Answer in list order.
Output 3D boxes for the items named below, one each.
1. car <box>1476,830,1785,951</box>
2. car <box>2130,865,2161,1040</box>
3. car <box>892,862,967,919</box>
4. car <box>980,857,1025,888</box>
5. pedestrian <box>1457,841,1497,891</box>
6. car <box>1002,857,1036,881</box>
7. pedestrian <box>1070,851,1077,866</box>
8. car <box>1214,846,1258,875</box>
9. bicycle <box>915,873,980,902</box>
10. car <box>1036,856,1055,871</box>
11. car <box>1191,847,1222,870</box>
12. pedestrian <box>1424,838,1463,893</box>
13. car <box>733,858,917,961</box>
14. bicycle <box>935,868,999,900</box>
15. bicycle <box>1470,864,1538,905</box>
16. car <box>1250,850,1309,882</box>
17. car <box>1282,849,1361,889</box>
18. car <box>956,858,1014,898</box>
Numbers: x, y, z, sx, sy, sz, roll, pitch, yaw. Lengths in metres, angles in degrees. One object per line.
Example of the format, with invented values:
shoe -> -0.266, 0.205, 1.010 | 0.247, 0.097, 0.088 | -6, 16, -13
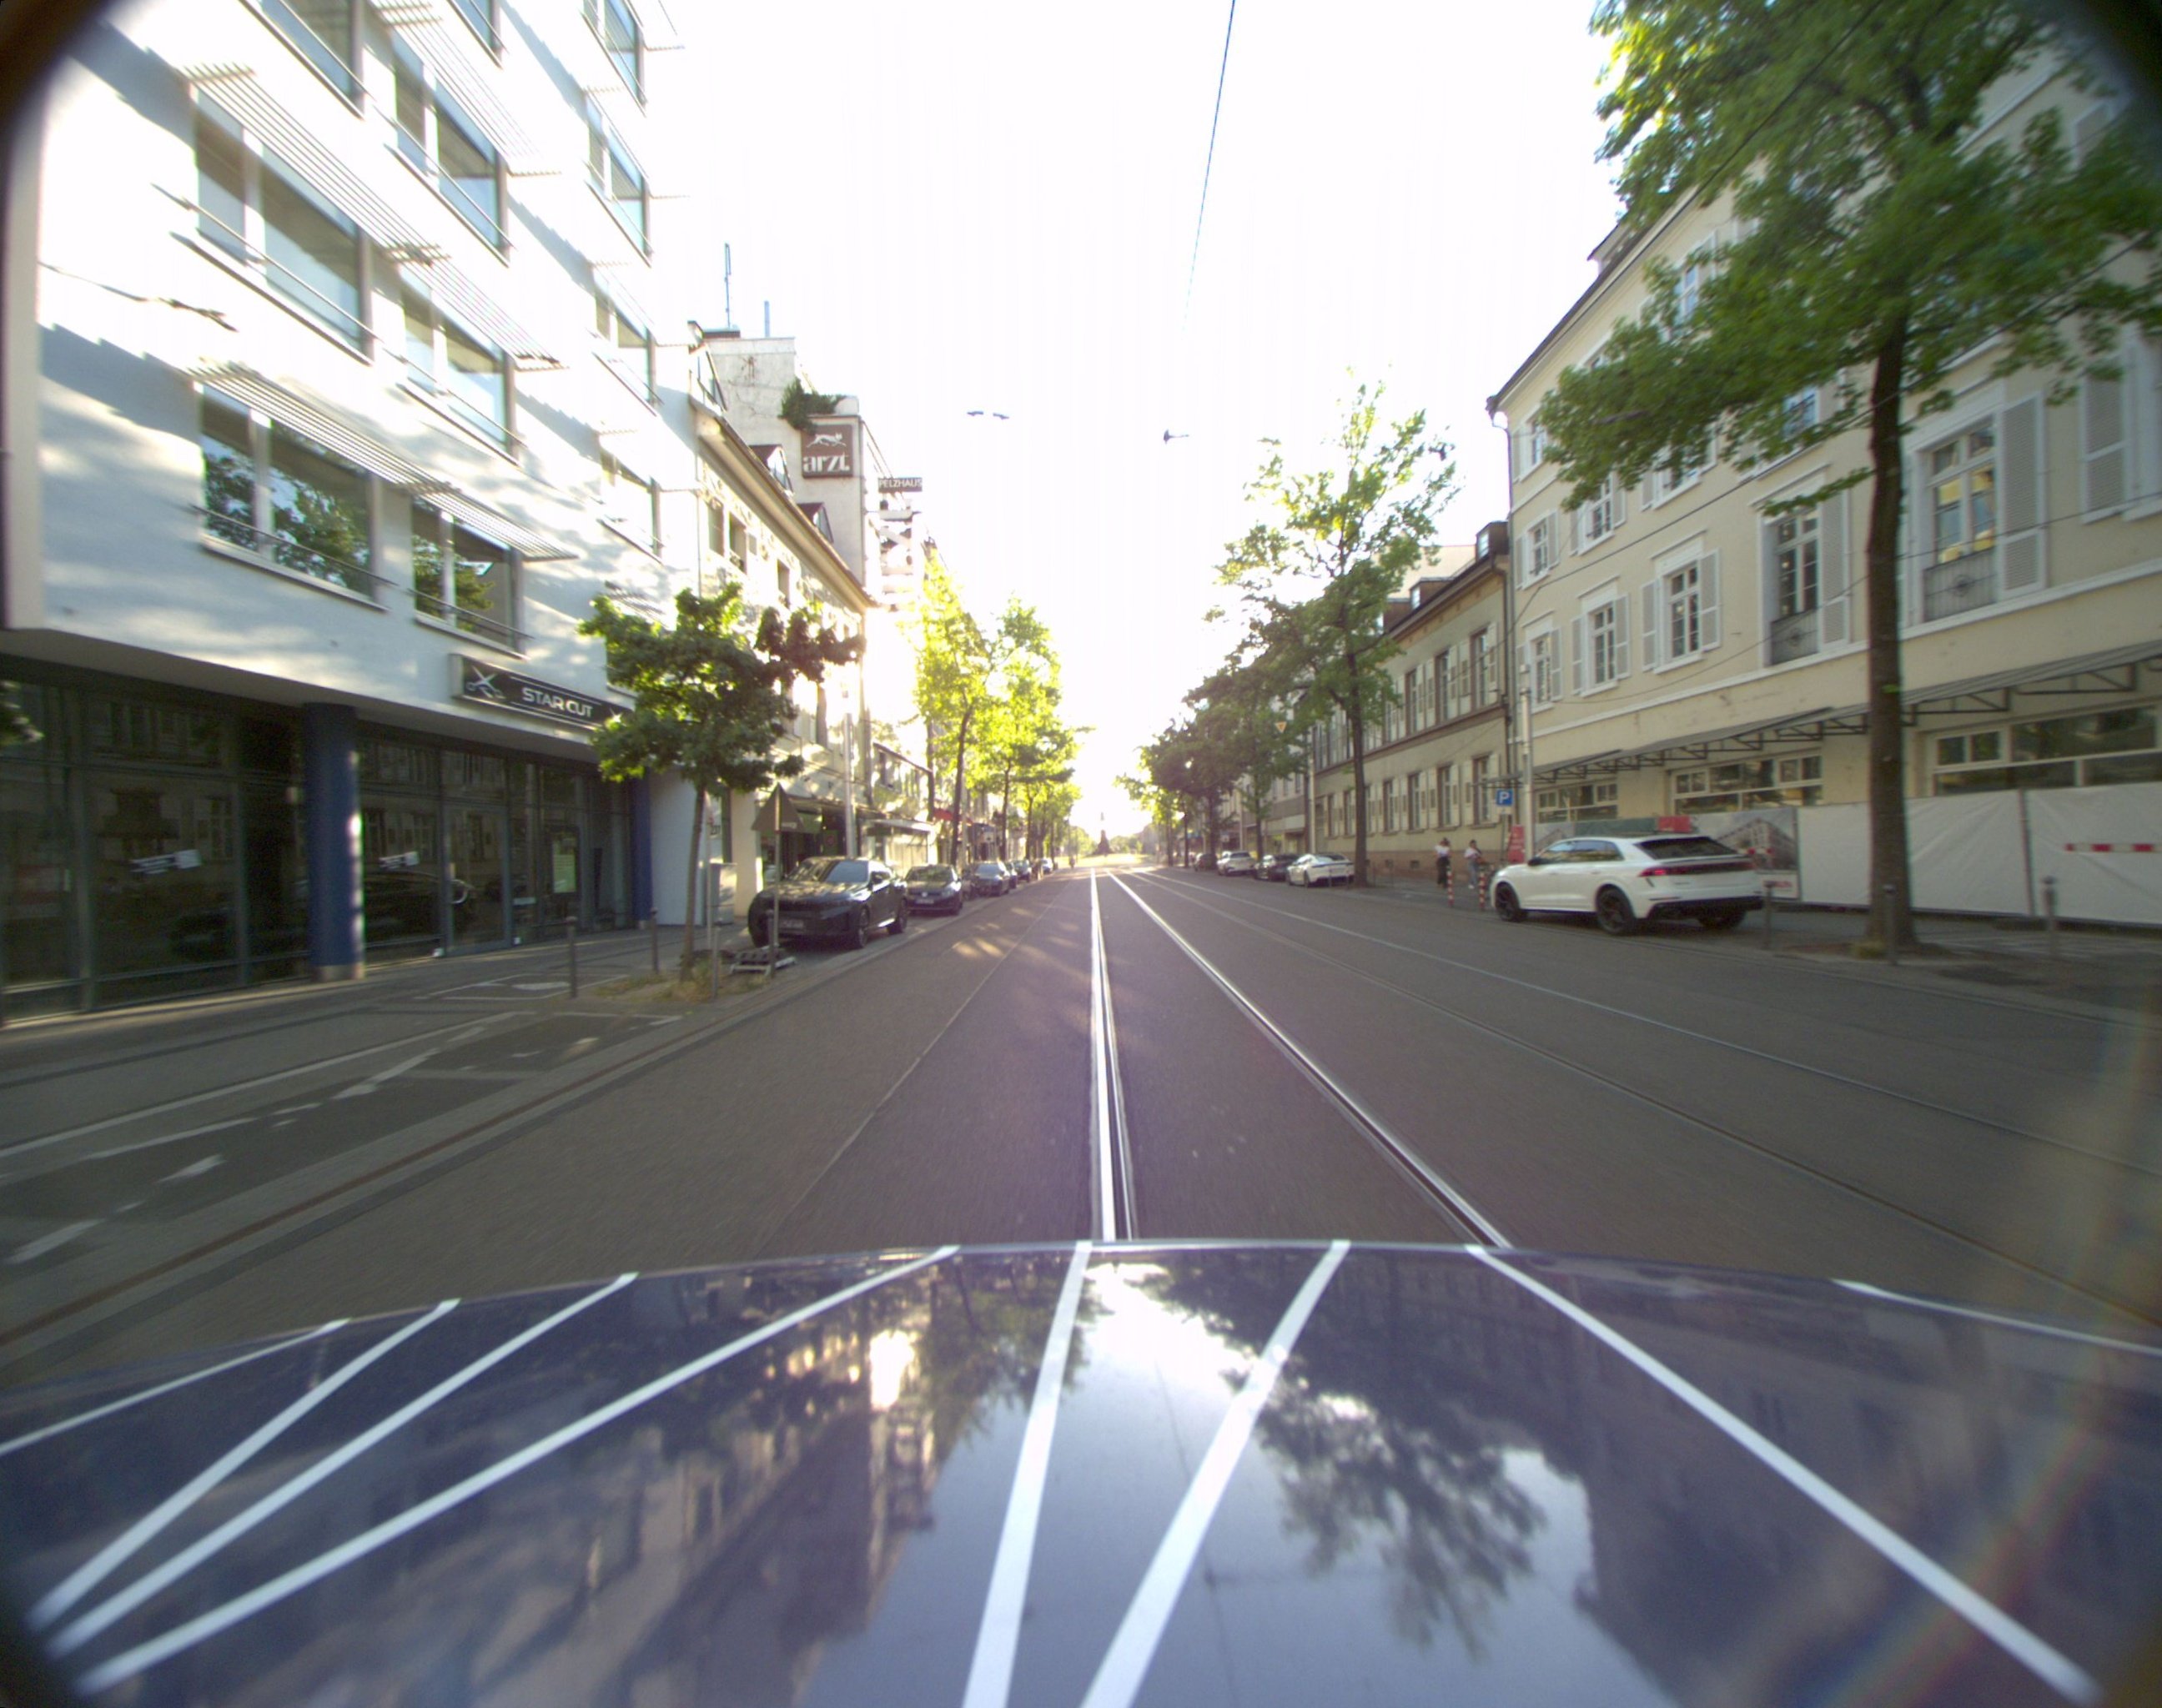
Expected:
car -> 9.591, 0.547, 13.943 | 1.870, 1.679, 4.950 | -4, 0, -2
car -> 9.445, 0.758, 4.166 | 1.664, 1.397, 4.141 | -4, 0, 2
car -> -4.508, 1.042, 23.127 | 1.871, 1.502, 4.242 | 1, 0, -7
car -> -4.224, 0.974, 41.395 | 1.869, 1.502, 4.286 | 1, 0, 1
pedestrian -> 13.023, 0.396, 25.006 | 0.746, 1.571, 0.933 | -4, 1, 1
car -> -4.022, 0.948, 49.952 | 1.798, 1.502, 3.986 | 1, 0, 1
pedestrian -> -0.953, 0.541, 97.567 | 0.705, 1.858, 0.791 | -2, 1, -9
car -> 10.485, 0.440, 51.583 | 1.952, 1.731, 4.766 | -4, 0, 1
bicycle -> -4.870, 1.233, 27.840 | 2.249, 0.982, 0.615 | -2, 1, 2
car -> -3.453, 0.944, 74.259 | 1.564, 1.391, 3.698 | 1, 0, 1
car -> 10.926, 0.380, 66.453 | 1.931, 1.946, 4.766 | -1, 0, 1
pedestrian -> 12.029, 0.375, 25.228 | 0.746, 1.732, 0.933 | -4, 1, 2
car -> -4.870, 0.954, 15.312 | 1.985, 1.679, 4.873 | 1, 0, 1
bicycle -> -4.421, 1.166, 29.638 | 2.325, 1.181, 0.751 | -2, 0, 2
bicycle -> 11.233, 0.786, 20.258 | 0.628, 0.969, 1.894 | -4, 0, -2
car -> 10.355, 0.588, 39.985 | 1.745, 1.458, 4.342 | -4, 0, -2
car -> 10.103, 0.589, 32.247 | 1.897, 1.458, 4.617 | -4, 0, 2
car -> -4.066, 0.994, 32.870 | 1.770, 1.502, 4.287 | -2, 0, 2
